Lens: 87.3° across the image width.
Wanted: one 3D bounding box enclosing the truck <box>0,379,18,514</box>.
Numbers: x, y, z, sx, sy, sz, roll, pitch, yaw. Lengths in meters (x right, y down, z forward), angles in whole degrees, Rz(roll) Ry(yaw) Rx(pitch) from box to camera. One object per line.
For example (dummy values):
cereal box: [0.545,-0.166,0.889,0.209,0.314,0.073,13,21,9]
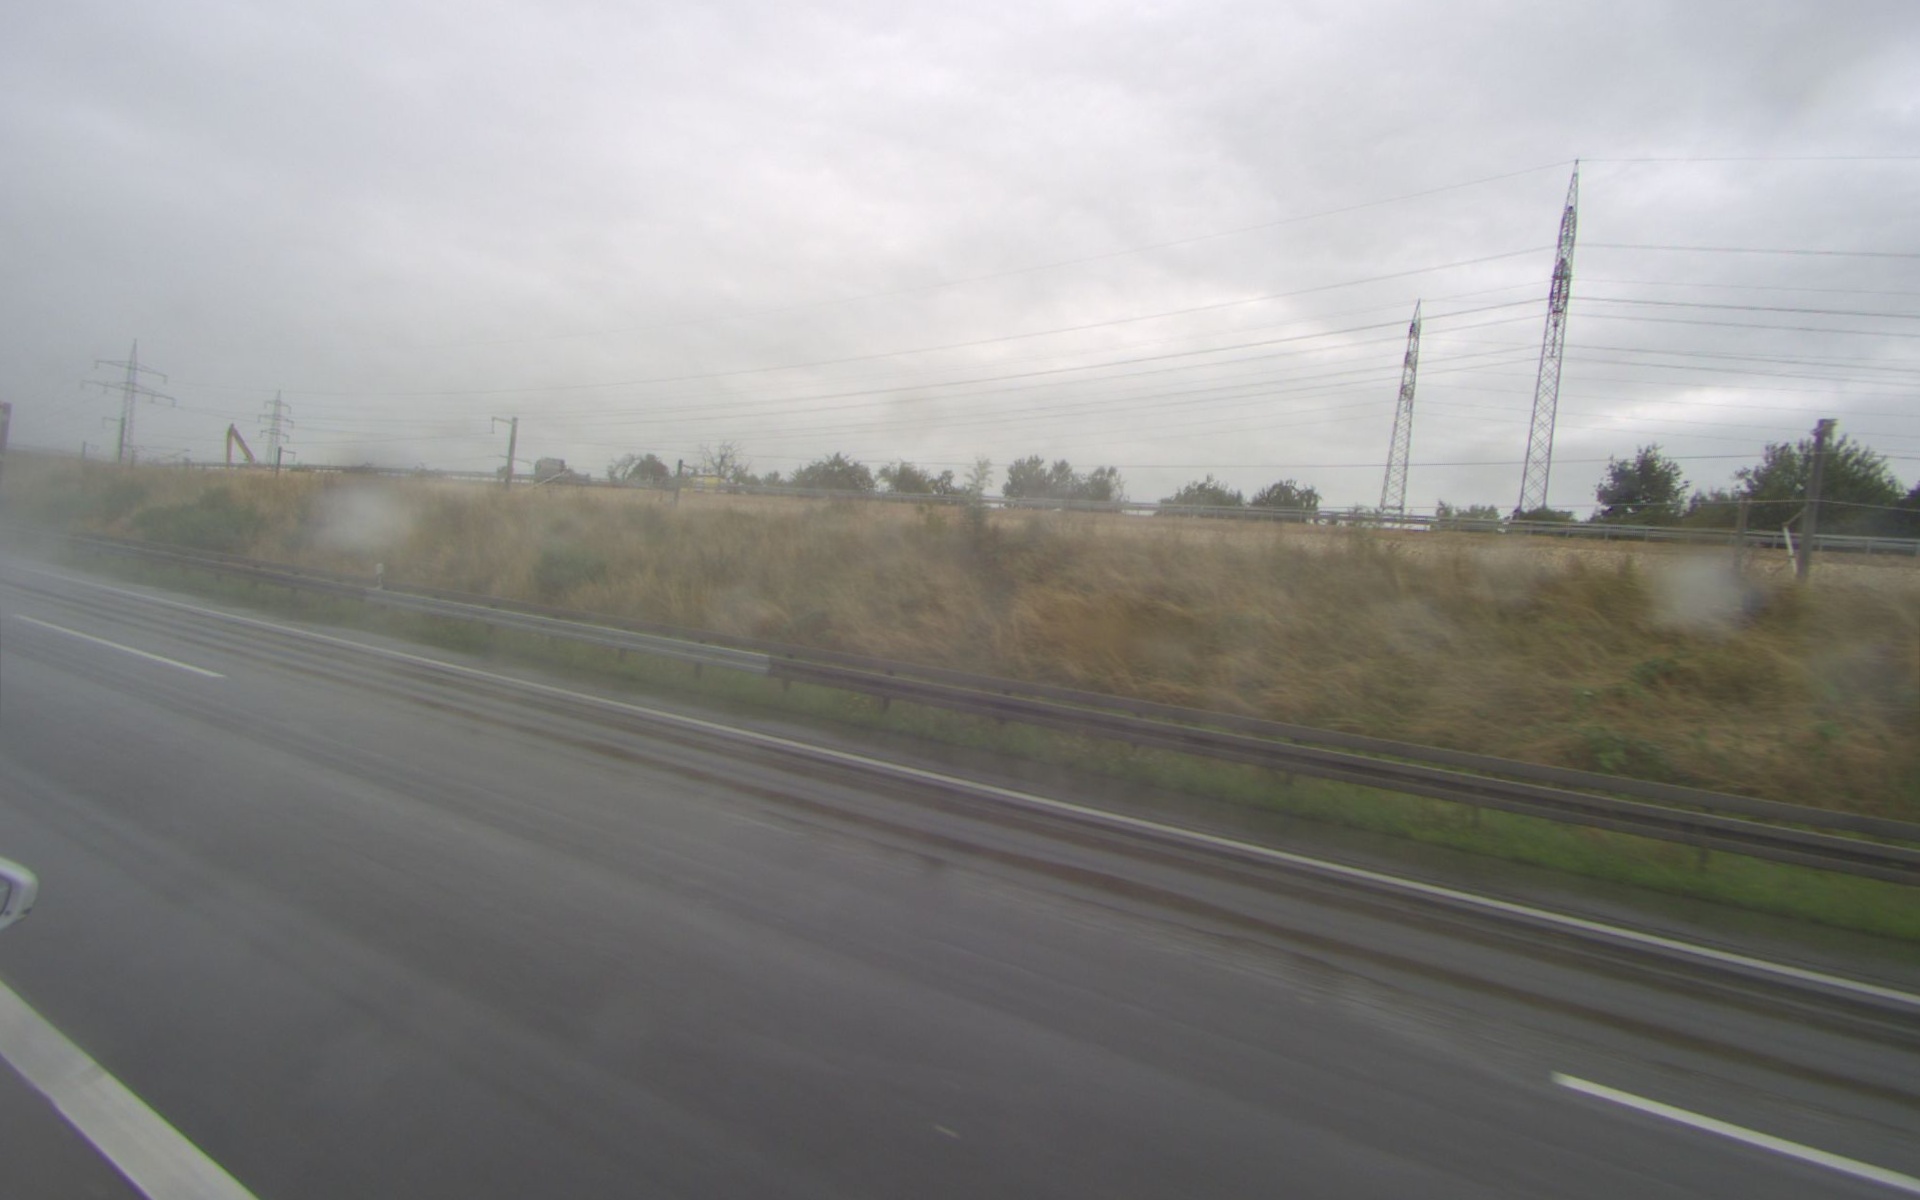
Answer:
truck: [-33.061,-4.446,29.664,16.076,4.641,3.046,7,-1,31]
